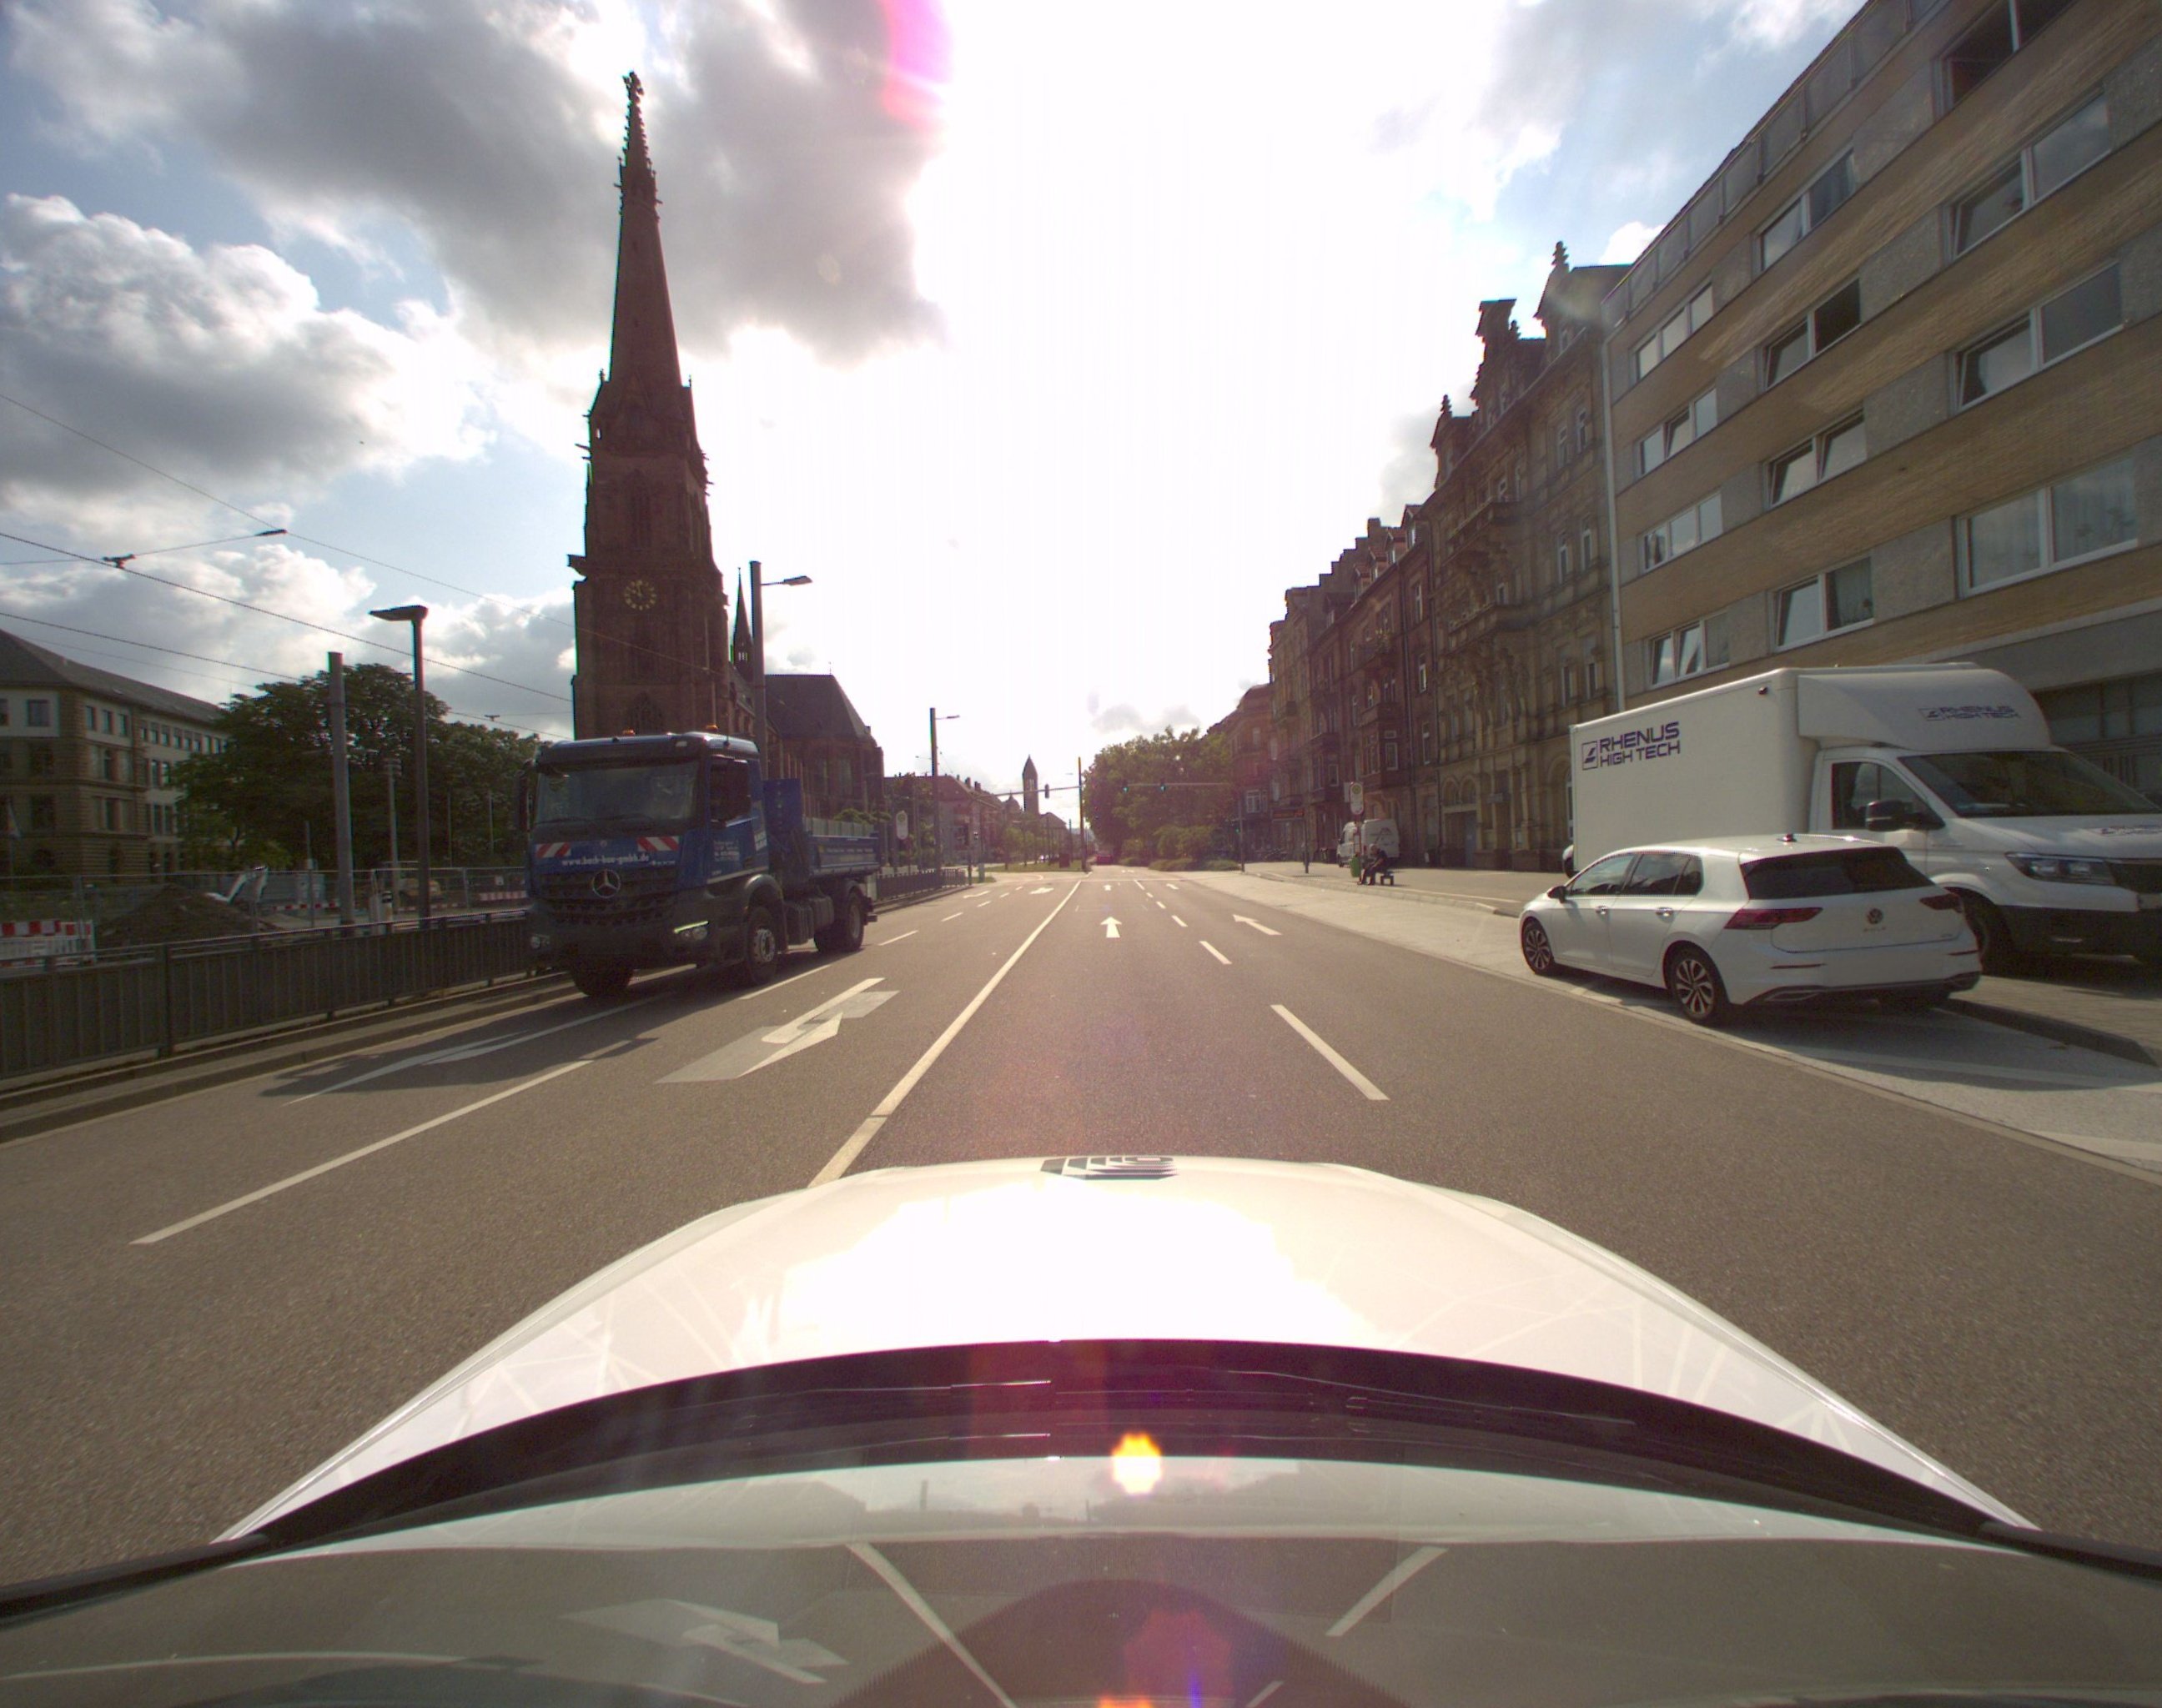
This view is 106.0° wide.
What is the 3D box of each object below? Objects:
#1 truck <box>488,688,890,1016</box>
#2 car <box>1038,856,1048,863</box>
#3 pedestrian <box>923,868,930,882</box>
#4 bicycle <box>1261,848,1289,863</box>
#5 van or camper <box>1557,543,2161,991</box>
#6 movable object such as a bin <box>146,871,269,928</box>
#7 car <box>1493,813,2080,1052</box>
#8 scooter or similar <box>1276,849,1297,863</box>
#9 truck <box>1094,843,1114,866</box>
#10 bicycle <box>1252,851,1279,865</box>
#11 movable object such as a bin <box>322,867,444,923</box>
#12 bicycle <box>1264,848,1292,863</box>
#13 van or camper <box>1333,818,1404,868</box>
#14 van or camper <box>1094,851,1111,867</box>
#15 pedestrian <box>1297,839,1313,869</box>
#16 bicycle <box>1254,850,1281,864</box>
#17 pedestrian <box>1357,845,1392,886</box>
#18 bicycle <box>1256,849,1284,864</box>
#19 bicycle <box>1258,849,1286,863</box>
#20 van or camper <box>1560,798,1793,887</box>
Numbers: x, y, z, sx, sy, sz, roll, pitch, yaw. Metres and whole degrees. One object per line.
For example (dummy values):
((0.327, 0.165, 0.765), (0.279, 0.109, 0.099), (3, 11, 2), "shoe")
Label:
((-5.383, -0.023, 13.065), (2.454, 3.648, 7.453), (-3, 0, 2), "truck")
((-10.359, 1.496, 222.538), (1.984, 1.794, 4.005), (-3, 0, 5), "car")
((-22.426, 3.000, 118.071), (0.802, 2.014, 0.915), (0, -4, 1), "pedestrian")
((16.468, 0.135, 69.095), (2.185, 1.181, 0.683), (-2, 0, -4), "bicycle")
((9.246, -0.676, 9.853), (2.701, 3.331, 7.645), (-2, 0, 3), "van or camper")
((-38.458, 1.932, 36.018), (2.001, 2.206, 4.242), (-2, 0, -21), "movable object such as a bin")
((5.814, 0.560, 7.635), (1.783, 1.437, 4.347), (-6, -1, 3), "car")
((16.554, 0.153, 65.737), (1.558, 1.097, 0.452), (-2, -1, 5), "scooter or similar")
((3.999, 0.090, 139.565), (3.157, 3.287, 7.298), (-1, -4, 2), "truck")
((16.276, 0.324, 71.868), (2.185, 1.181, 0.683), (-2, 0, -4), "bicycle")
((-38.009, 2.196, 44.449), (4.885, 2.802, 2.001), (-2, 0, 1), "movable object such as a bin")
((16.516, 0.083, 68.330), (2.185, 1.181, 0.683), (-2, 0, -4), "bicycle")
((15.632, -0.540, 44.612), (1.986, 2.474, 5.567), (-3, 0, 2), "van or camper")
((2.870, 0.723, 109.427), (2.004, 1.915, 4.517), (0, -4, -2), "van or camper")
((15.299, -0.006, 55.635), (0.882, 2.014, 0.996), (0, -1, 1), "pedestrian")
((16.277, 0.278, 71.188), (2.185, 1.181, 0.683), (-2, 0, -4), "bicycle")
((9.549, 0.379, 26.496), (0.748, 1.316, 0.812), (1, -1, -37), "pedestrian")
((16.335, 0.228, 70.451), (2.185, 1.181, 0.683), (-2, 0, -4), "bicycle")
((16.383, 0.180, 69.744), (2.185, 1.181, 0.683), (-2, 0, -4), "bicycle")
((15.339, -0.252, 21.486), (1.989, 1.905, 5.292), (-4, 0, -3), "van or camper")
